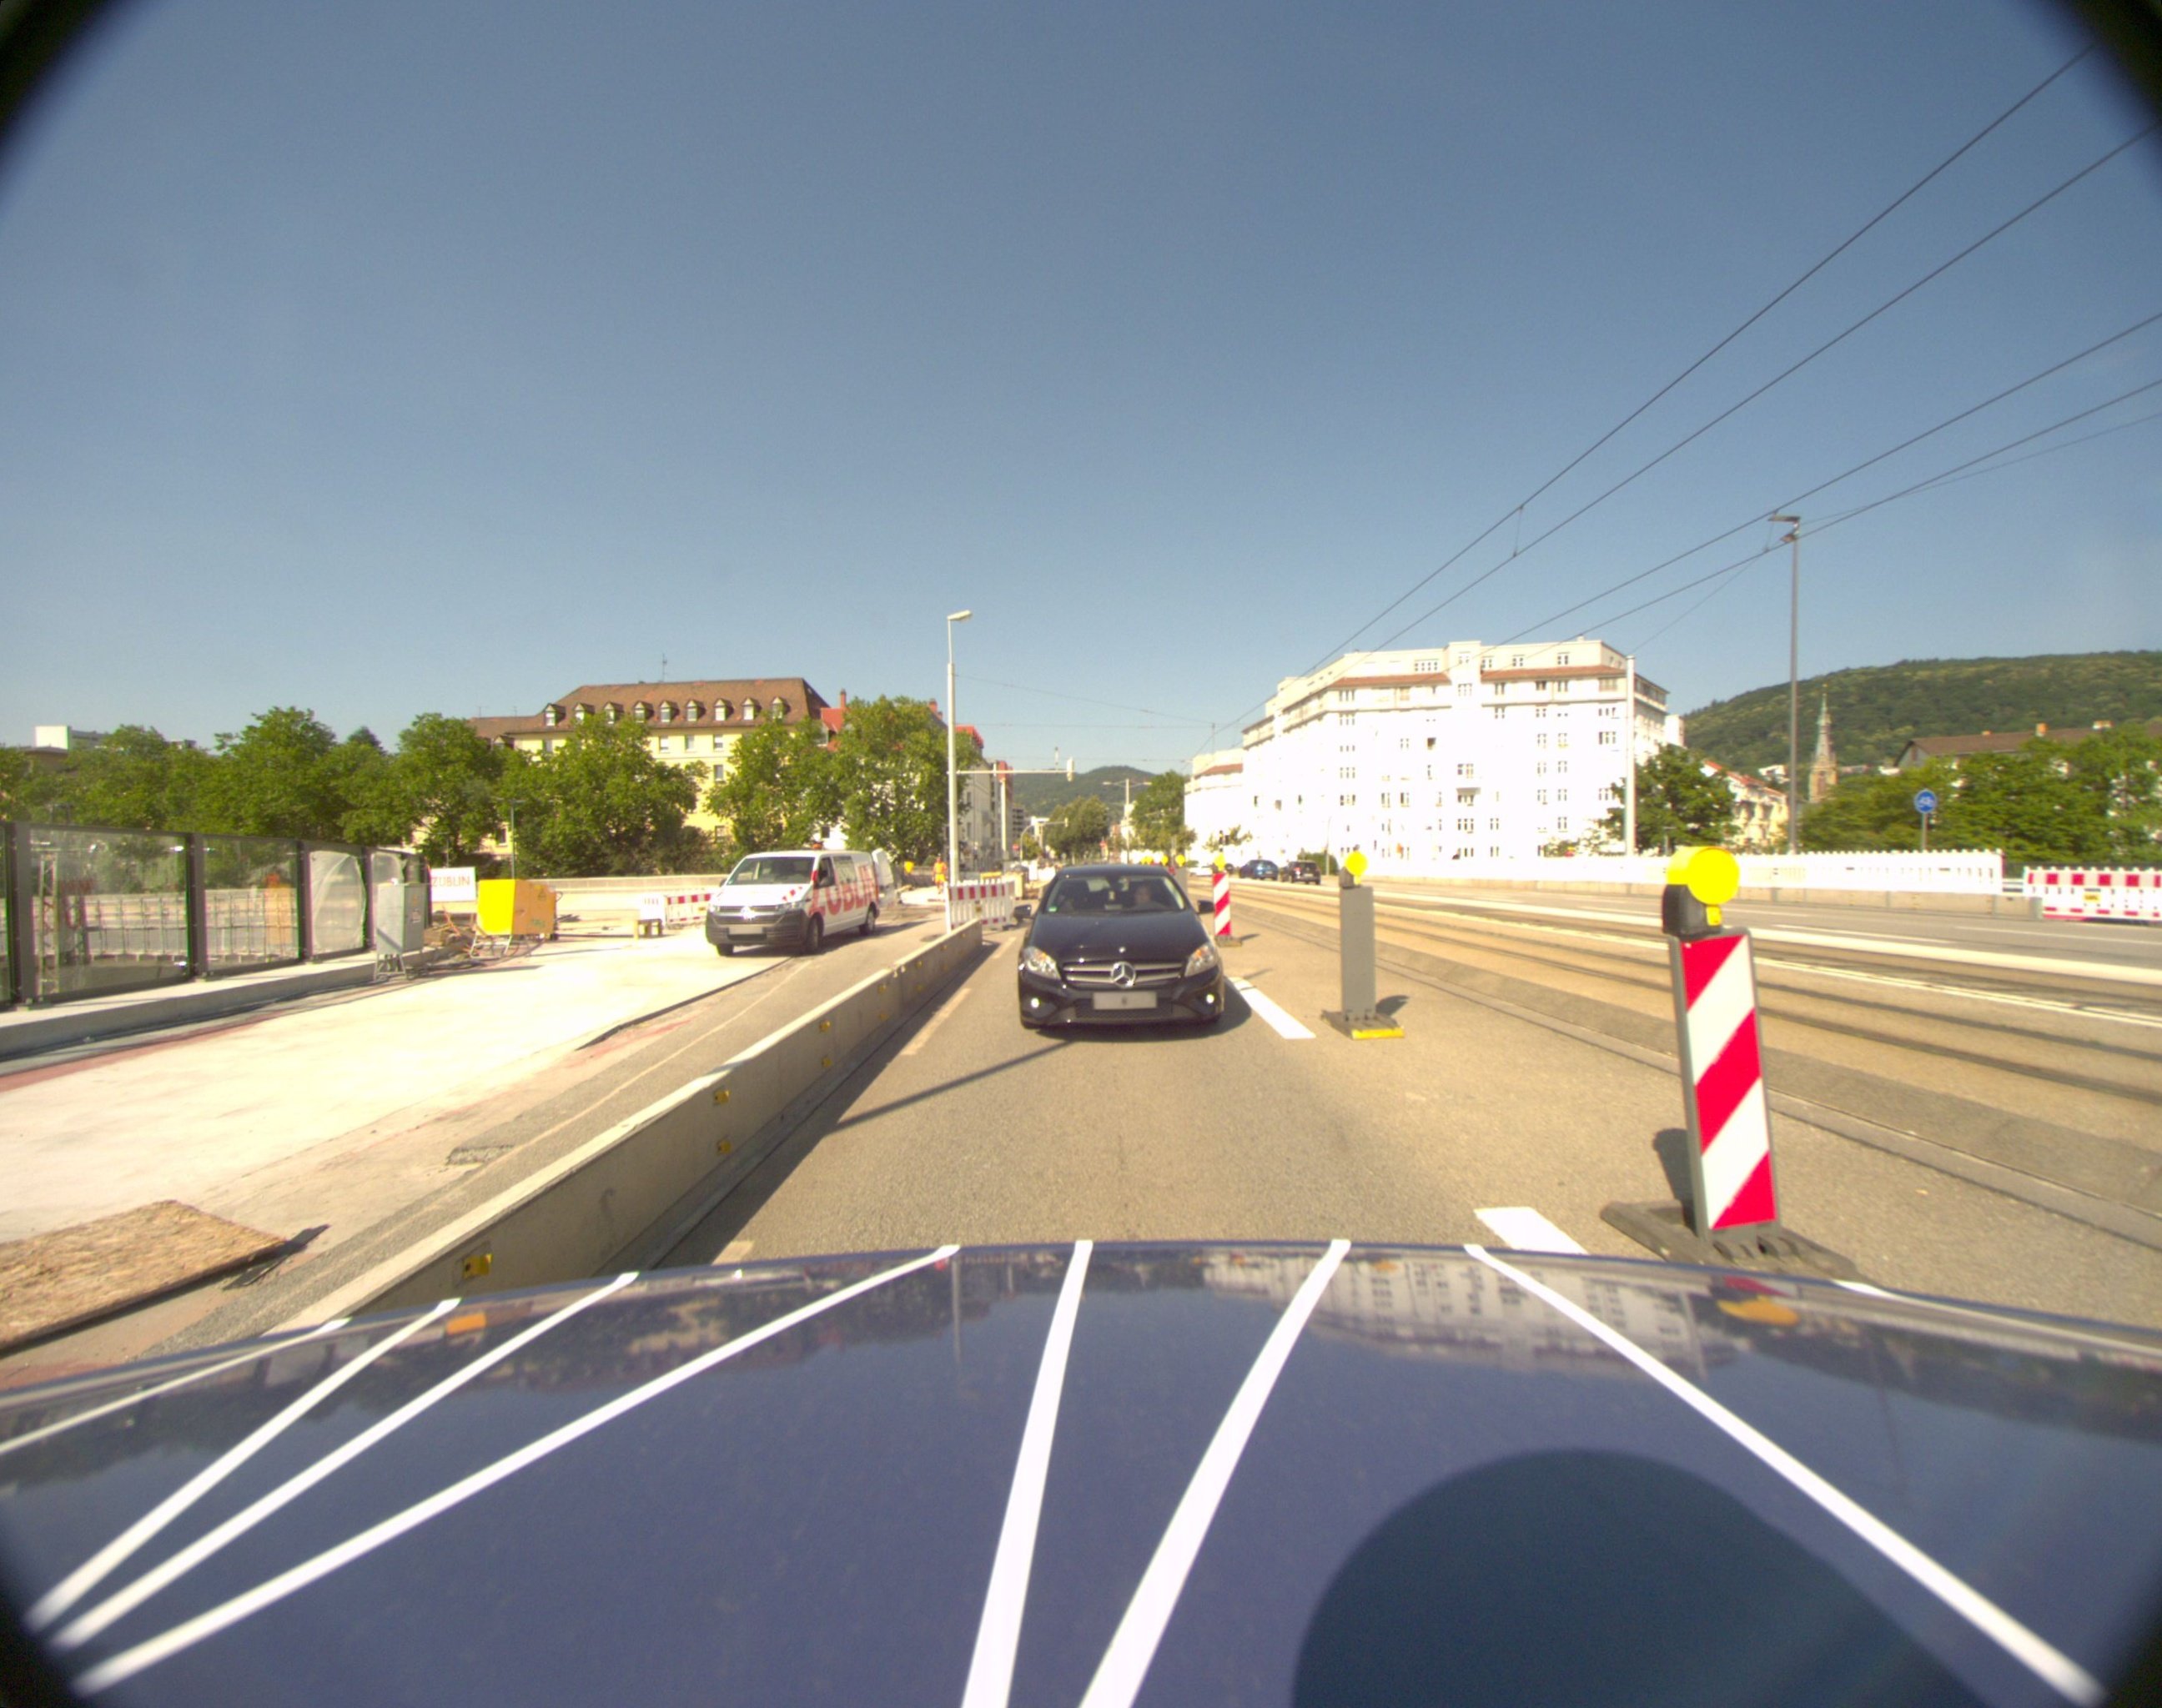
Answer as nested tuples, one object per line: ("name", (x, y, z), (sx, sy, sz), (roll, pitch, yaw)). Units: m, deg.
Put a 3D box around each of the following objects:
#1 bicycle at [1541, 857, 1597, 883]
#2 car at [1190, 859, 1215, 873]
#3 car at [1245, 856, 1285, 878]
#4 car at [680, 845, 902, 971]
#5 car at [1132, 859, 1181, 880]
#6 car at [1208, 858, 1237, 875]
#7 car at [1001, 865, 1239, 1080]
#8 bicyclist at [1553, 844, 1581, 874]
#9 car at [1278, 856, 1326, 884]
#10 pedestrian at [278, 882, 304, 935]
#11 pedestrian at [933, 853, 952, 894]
("bicycle", (24.812, 0.802, 38.725), (0.858, 1.188, 3.072), (-2, 1, 0))
("car", (14.254, 1.426, 89.121), (2.039, 1.477, 3.998), (0, 1, -4))
("car", (13.572, 0.939, 56.344), (2.038, 1.477, 3.999), (-1, 1, 1))
("car", (-5.716, 0.894, 16.206), (1.938, 2.078, 6.470), (-1, 1, 3))
("car", (6.833, 1.449, 69.223), (2.004, 1.673, 3.990), (-2, -2, -44))
("car", (13.993, 1.227, 75.430), (2.039, 1.477, 3.999), (0, 1, -1))
("car", (0.315, 0.907, 7.772), (1.698, 1.388, 4.362), (-2, 1, 1))
("bicyclist", (24.788, 0.250, 38.739), (0.858, 1.510, 0.817), (-2, 1, 0))
("car", (13.049, 0.924, 45.103), (1.801, 1.477, 4.000), (-1, 0, 2))
("pedestrian", (-30.658, 2.102, 29.478), (0.426, 2.002, 0.503), (-2, 1, 27))
("pedestrian", (-6.821, 0.948, 37.355), (0.761, 1.973, 0.843), (0, 1, 1))
